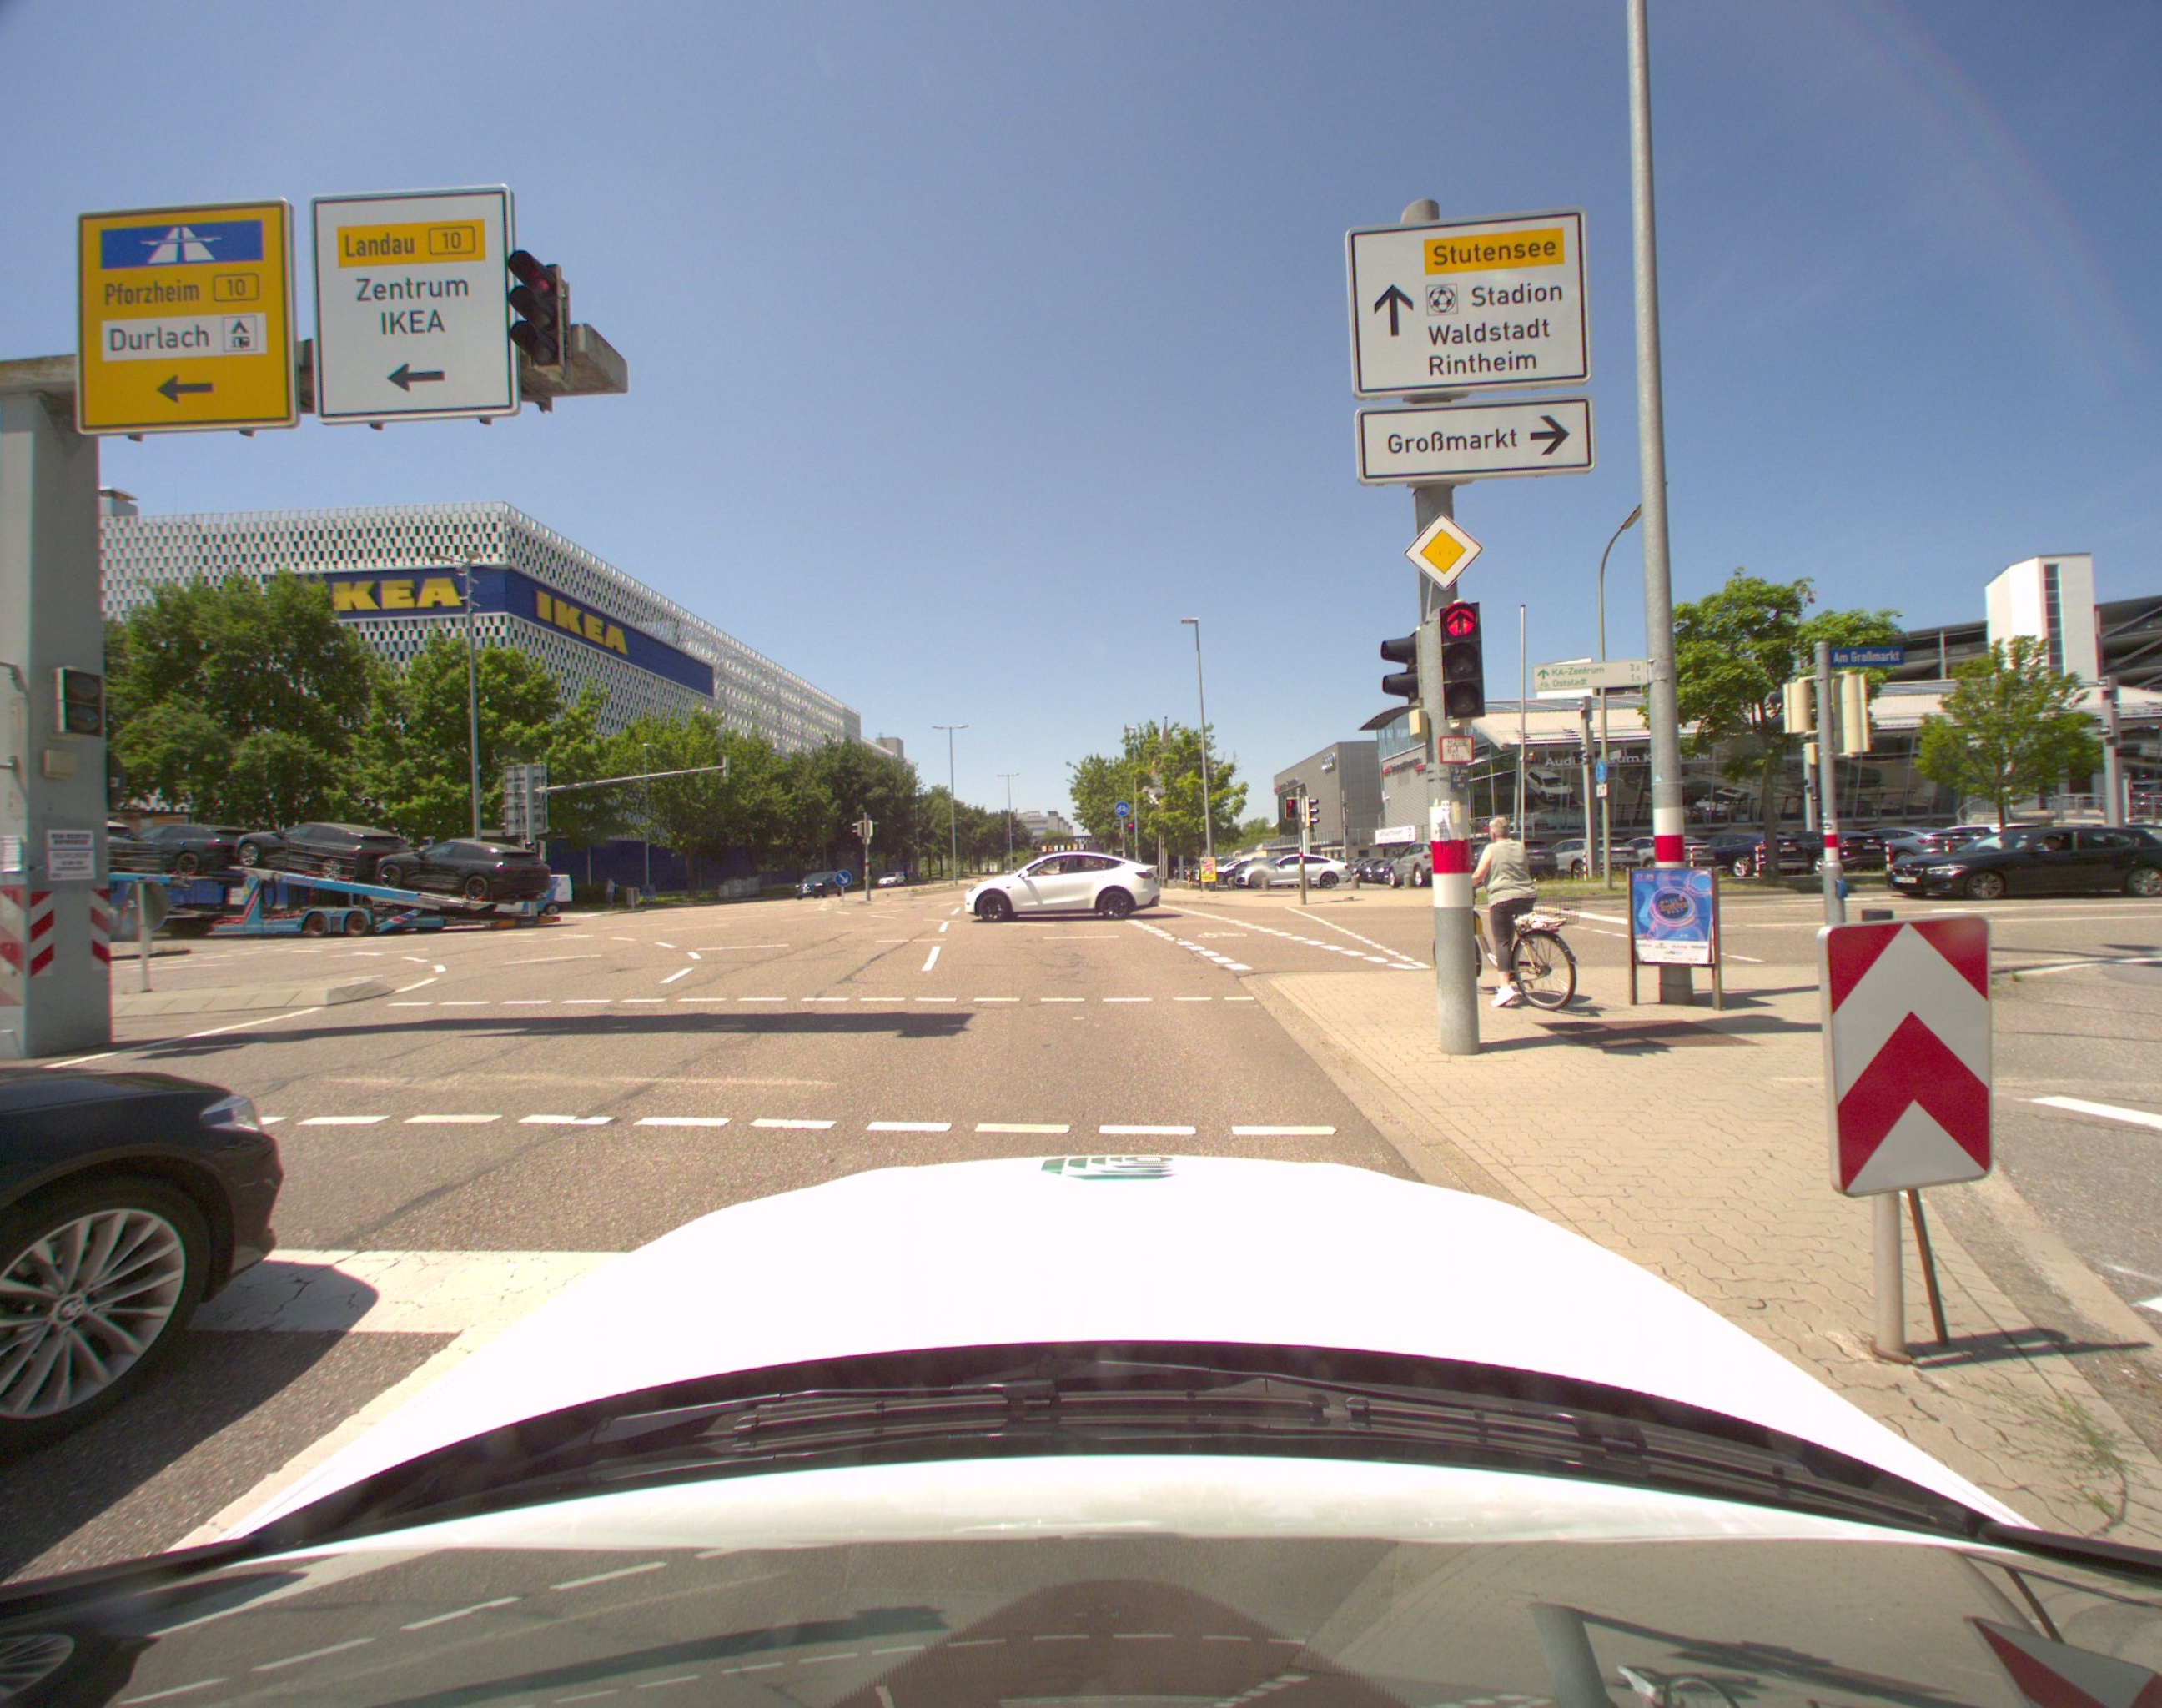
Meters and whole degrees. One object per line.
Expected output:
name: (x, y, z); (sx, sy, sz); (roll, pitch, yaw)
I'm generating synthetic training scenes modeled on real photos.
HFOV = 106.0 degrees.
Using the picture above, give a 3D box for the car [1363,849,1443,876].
car: (19.294, 0.506, 48.898); (4.076, 1.460, 1.720); (-2, 0, 2)

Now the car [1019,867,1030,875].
car: (-10.490, 3.223, 151.111); (1.678, 1.411, 3.666); (-3, -1, 2)

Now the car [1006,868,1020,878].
car: (-10.585, 3.013, 127.447); (1.725, 1.427, 3.707); (-4, -1, 2)

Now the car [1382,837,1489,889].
car: (12.414, 0.280, 28.814); (1.986, 1.640, 4.270); (-2, 0, 2)

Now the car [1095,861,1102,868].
car: (4.738, 2.857, 220.898); (1.765, 1.728, 4.001); (-3, -1, 2)

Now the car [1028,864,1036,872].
car: (-11.365, 3.218, 188.511); (1.645, 1.653, 4.160); (-2, -1, -2)

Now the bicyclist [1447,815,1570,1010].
bicyclist: (4.029, 0.523, 7.721); (0.732, 1.749, 0.753); (-1, 0, -3)

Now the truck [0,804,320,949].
truck: (-30.932, 0.790, 26.311); (10.559, 4.082, 3.107); (-3, 0, 7)

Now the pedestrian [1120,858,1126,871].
pedestrian: (4.717, 1.179, 91.576); (0.665, 1.510, 0.736); (-2, -1, 1)

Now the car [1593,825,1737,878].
car: (20.343, -0.078, 28.647); (1.878, 1.639, 4.526); (-3, 0, 2)

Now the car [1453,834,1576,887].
car: (15.098, 0.196, 28.678); (1.986, 1.639, 4.559); (-2, 0, 2)

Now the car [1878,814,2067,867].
car: (31.205, -0.457, 28.757); (1.821, 1.639, 4.476); (-3, 0, 2)

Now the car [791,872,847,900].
car: (-16.424, 1.991, 51.260); (1.868, 1.598, 4.498); (-3, -1, 2)

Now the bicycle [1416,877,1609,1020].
bicycle: (4.059, 0.826, 7.863); (0.784, 1.127, 1.919); (-1, 0, -2)

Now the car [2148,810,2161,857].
car: (39.444, -0.789, 26.935); (4.705, 1.639, 1.844); (-3, 0, 24)

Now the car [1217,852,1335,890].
car: (8.505, 0.761, 35.881); (4.721, 1.457, 2.002); (-2, -2, 3)

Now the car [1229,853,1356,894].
car: (8.534, 0.766, 33.210); (4.721, 1.457, 2.002); (-2, 0, 3)

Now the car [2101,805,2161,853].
car: (47.142, -1.109, 35.012); (3.728, 2.014, 1.866); (-2, -1, 11)

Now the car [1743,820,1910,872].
car: (25.804, -0.260, 28.434); (1.821, 1.640, 4.476); (-1, 0, 2)

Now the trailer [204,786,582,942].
trailer: (-20.934, 0.351, 25.034); (9.559, 4.081, 3.101); (-3, 0, 7)

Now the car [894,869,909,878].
car: (-39.572, 4.229, 179.750); (1.984, 1.810, 4.034); (0, 0, 5)

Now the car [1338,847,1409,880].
car: (19.343, 0.619, 54.058); (3.971, 2.014, 2.001); (-2, -1, 2)

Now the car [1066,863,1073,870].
car: (-3.249, 3.520, 225.085); (1.765, 1.728, 4.001); (-3, -1, 2)

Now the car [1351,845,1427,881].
car: (19.320, 0.562, 51.241); (3.971, 2.014, 2.001); (-2, -1, 2)

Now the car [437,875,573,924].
car: (-27.059, 2.117, 38.450); (1.974, 2.008, 4.795); (-3, -1, 33)

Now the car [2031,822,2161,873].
car: (39.149, -0.250, 30.858); (3.665, 1.777, 1.759); (-3, -1, 28)

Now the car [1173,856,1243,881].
car: (9.163, 1.032, 58.942); (4.726, 1.457, 2.000); (-3, 0, 0)

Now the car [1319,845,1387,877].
car: (18.733, 0.469, 56.228); (3.971, 2.014, 2.001); (-2, -1, 2)

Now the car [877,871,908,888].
car: (-19.663, 2.671, 85.218); (1.918, 1.665, 4.094); (-3, -1, 4)

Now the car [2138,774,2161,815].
car: (54.892, -3.038, 39.466); (1.989, 2.014, 3.995); (-2, -1, -3)

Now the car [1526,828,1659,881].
car: (17.945, 0.010, 28.849); (1.986, 1.639, 4.443); (-3, 0, 2)

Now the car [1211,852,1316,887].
car: (8.854, 0.746, 39.874); (4.721, 1.457, 2.002); (-2, 0, 3)

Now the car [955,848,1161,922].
car: (-0.471, 0.738, 19.726); (4.654, 1.588, 2.004); (-2, -1, 7)

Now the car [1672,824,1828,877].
car: (23.167, -0.117, 28.464); (1.821, 1.639, 4.476); (-3, 0, 2)

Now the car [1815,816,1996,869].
car: (28.558, -0.375, 28.456); (1.821, 1.639, 4.476); (-3, 0, 2)

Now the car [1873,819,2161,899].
car: (19.312, 0.096, 16.668); (4.194, 1.411, 1.678); (-2, 1, 12)

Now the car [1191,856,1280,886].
car: (8.764, 0.955, 46.482); (4.726, 1.457, 2.000); (-2, 0, 0)

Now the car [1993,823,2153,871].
car: (40.255, -0.268, 33.191); (3.720, 1.772, 1.781); (-3, -1, 32)

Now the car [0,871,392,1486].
car: (-3.545, 0.807, 0.757); (1.793, 1.466, 4.623); (-1, 0, 1)

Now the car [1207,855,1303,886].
car: (9.285, 0.861, 43.698); (4.726, 1.457, 2.000); (-2, 0, 0)
